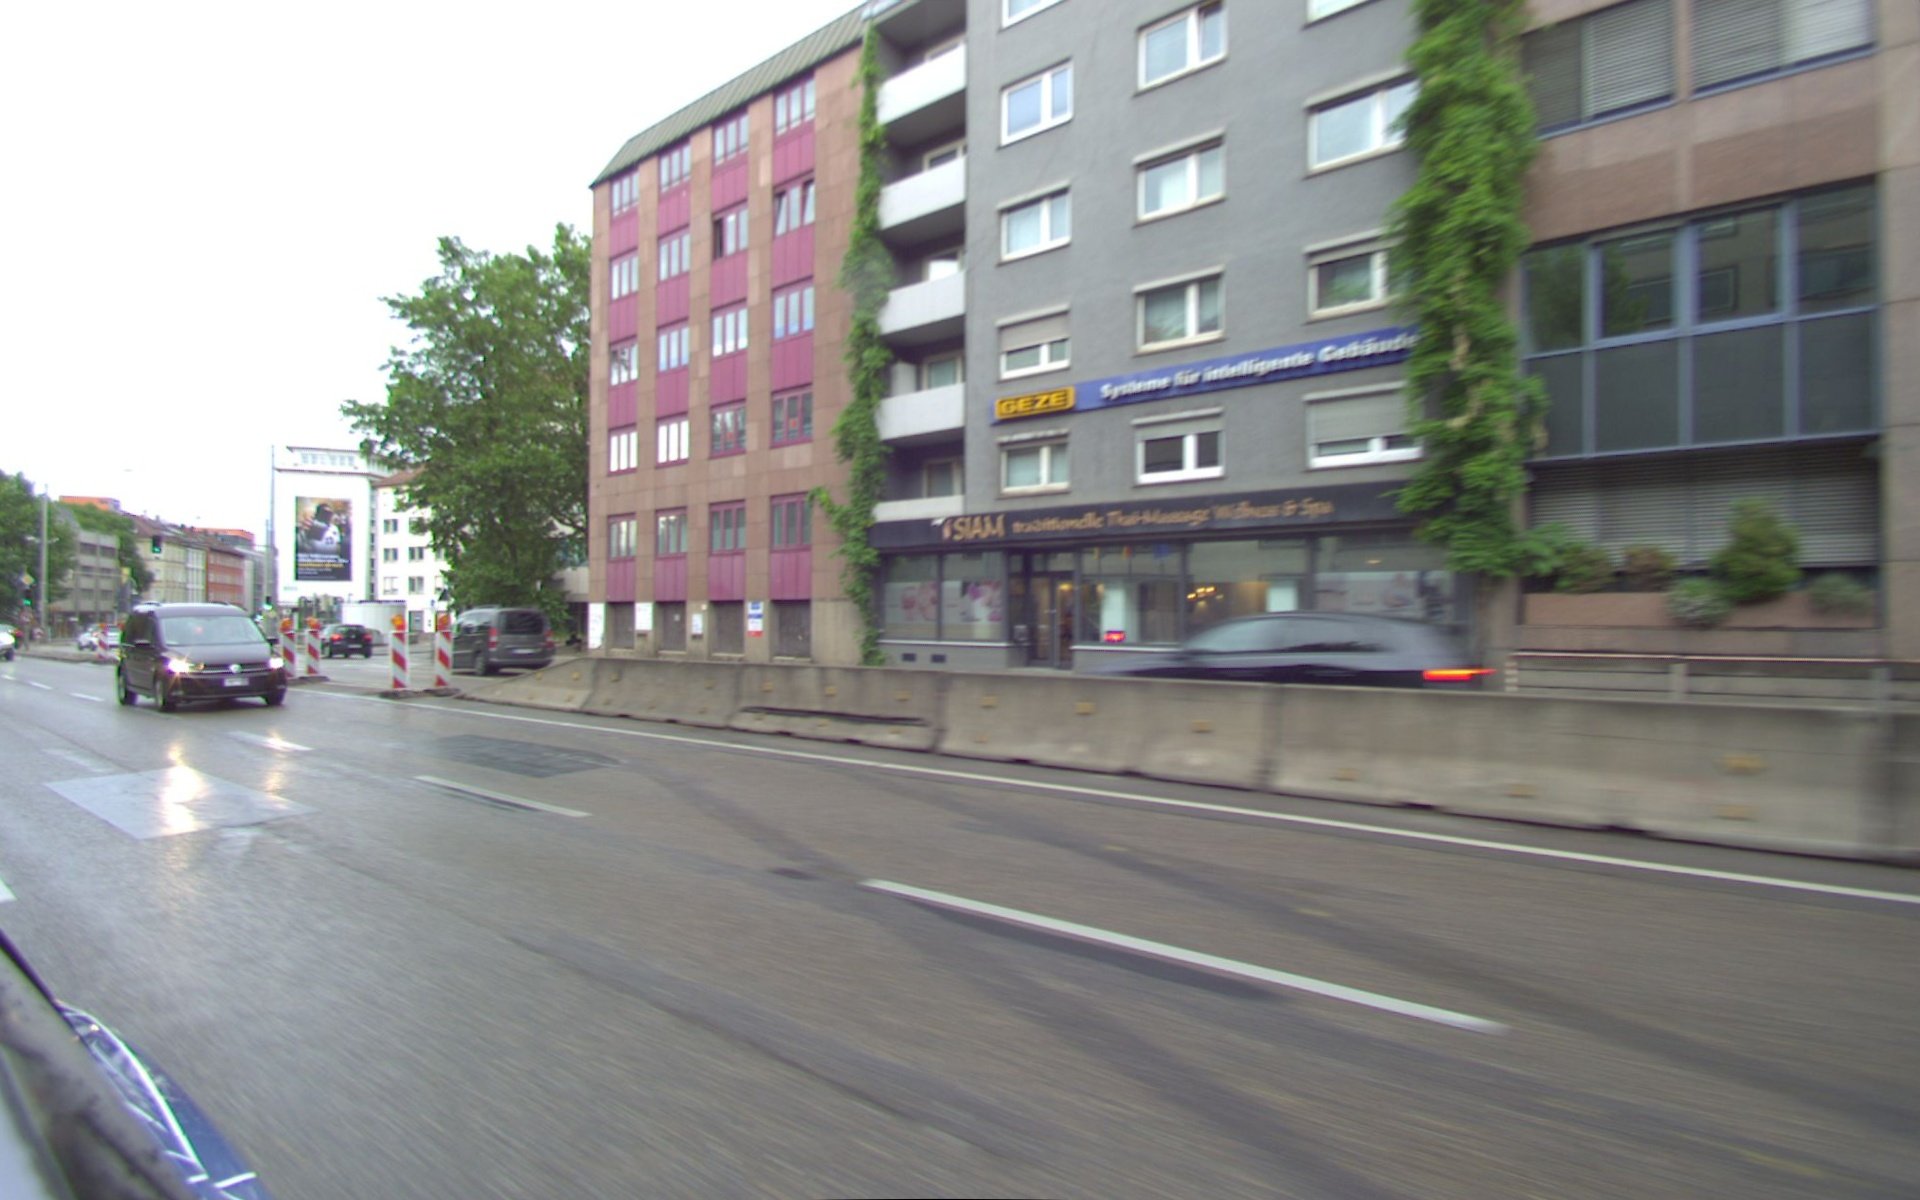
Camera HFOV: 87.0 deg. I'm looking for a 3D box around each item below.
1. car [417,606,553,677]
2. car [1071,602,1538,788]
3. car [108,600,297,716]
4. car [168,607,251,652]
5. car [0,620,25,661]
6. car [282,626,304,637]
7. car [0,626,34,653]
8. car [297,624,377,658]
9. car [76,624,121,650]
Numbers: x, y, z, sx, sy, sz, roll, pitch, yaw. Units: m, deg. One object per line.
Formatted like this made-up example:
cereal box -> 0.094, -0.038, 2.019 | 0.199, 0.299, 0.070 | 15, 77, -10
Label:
car -> -12.985, 1.104, 27.549 | 4.423, 1.784, 1.703 | -1, -2, 41
car -> 3.416, 0.847, 10.499 | 4.227, 1.545, 1.841 | -1, -2, 40
car -> -13.342, 0.947, 17.753 | 4.122, 1.813, 1.772 | -1, -1, 40
car -> -35.349, 1.399, 47.609 | 5.286, 2.005, 1.973 | -1, -2, 41
car -> -39.585, 1.628, 41.217 | 3.999, 1.588, 1.823 | -1, -2, 42
car -> -95.848, 4.556, 145.451 | 1.843, 1.590, 4.013 | 1, -2, -23
car -> -62.899, 2.590, 66.792 | 4.933, 1.690, 1.973 | -2, -3, 40
car -> -27.321, 1.768, 44.371 | 4.015, 1.410, 1.682 | -1, -2, 38
car -> -50.177, 2.164, 58.941 | 2.947, 1.496, 1.539 | -3, -3, 41
